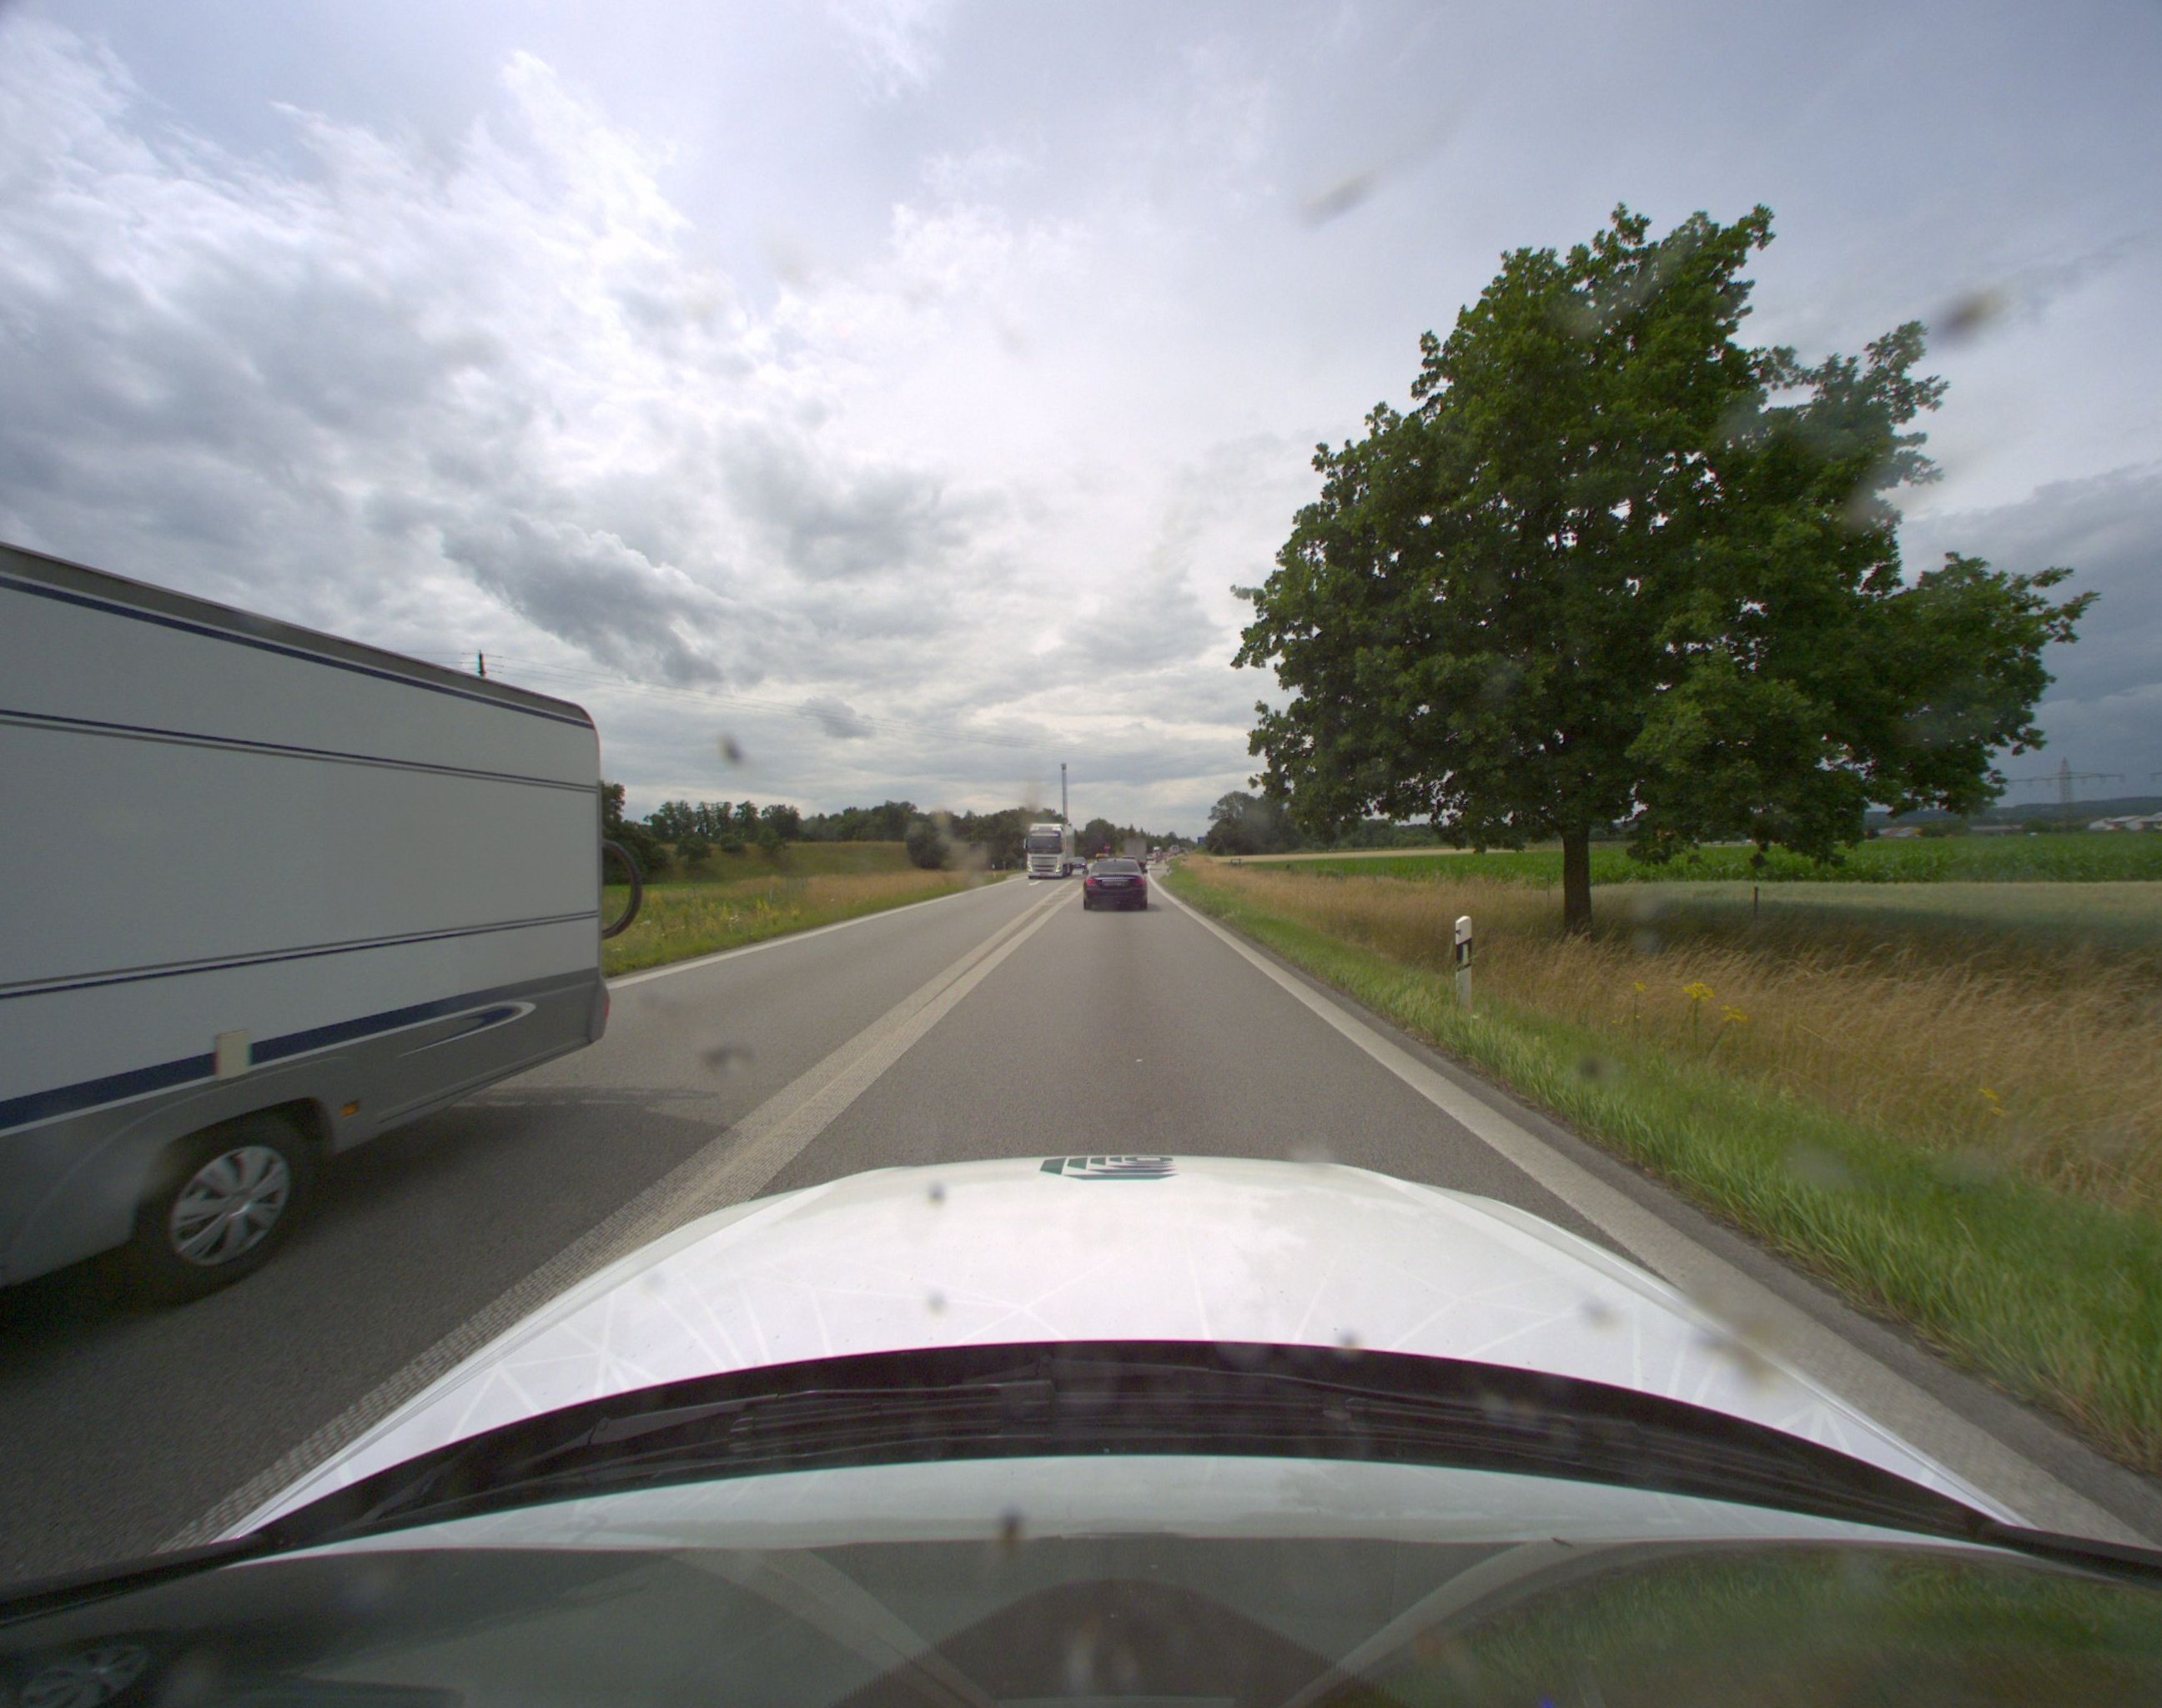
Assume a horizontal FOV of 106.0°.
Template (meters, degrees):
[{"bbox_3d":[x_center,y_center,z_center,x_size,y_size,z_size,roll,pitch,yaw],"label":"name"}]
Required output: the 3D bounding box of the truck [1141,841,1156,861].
[{"bbox_3d":[11.785,-0.523,142.697,1.988,3.526,4.588,0,-1,-2],"label":"truck"}]

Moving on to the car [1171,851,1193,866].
[{"bbox_3d":[11.215,0.515,90.490,1.791,1.662,3.997,0,-1,-2],"label":"car"}]

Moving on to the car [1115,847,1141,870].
[{"bbox_3d":[4.246,0.406,73.809,1.988,2.014,3.997,0,-1,-2],"label":"car"}]

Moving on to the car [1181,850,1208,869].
[{"bbox_3d":[10.408,0.522,74.943,1.791,1.662,3.997,0,-1,-2],"label":"car"}]

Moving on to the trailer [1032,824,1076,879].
[{"bbox_3d":[-1.989,-0.215,65.447,2.479,3.995,13.085,-1,0,3],"label":"trailer"}]

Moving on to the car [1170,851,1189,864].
[{"bbox_3d":[12.406,0.456,103.126,1.791,1.662,3.997,0,-1,-2],"label":"car"}]

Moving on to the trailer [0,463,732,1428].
[{"bbox_3d":[-3.939,0.250,3.310,2.174,2.575,6.245,0,-1,1],"label":"trailer"}]

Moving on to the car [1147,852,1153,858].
[{"bbox_3d":[17.834,0.264,210.712,1.642,1.395,3.708,0,-1,3],"label":"car"}]

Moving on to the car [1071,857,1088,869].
[{"bbox_3d":[-0.165,1.082,100.556,1.850,1.479,5.202,0,-1,3],"label":"car"}]

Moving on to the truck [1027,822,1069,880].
[{"bbox_3d":[-2.323,-0.217,58.422,2.479,3.995,5.208,-1,0,2],"label":"truck"}]

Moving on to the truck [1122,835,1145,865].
[{"bbox_3d":[6.342,-0.420,98.563,2.574,3.524,4.820,0,-1,6],"label":"truck"}]

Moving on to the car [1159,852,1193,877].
[{"bbox_3d":[6.527,0.736,56.300,1.791,1.662,3.997,0,-1,-2],"label":"car"}]

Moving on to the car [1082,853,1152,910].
[{"bbox_3d":[0.983,0.771,24.165,1.791,1.560,3.997,0,-1,-2],"label":"car"}]
